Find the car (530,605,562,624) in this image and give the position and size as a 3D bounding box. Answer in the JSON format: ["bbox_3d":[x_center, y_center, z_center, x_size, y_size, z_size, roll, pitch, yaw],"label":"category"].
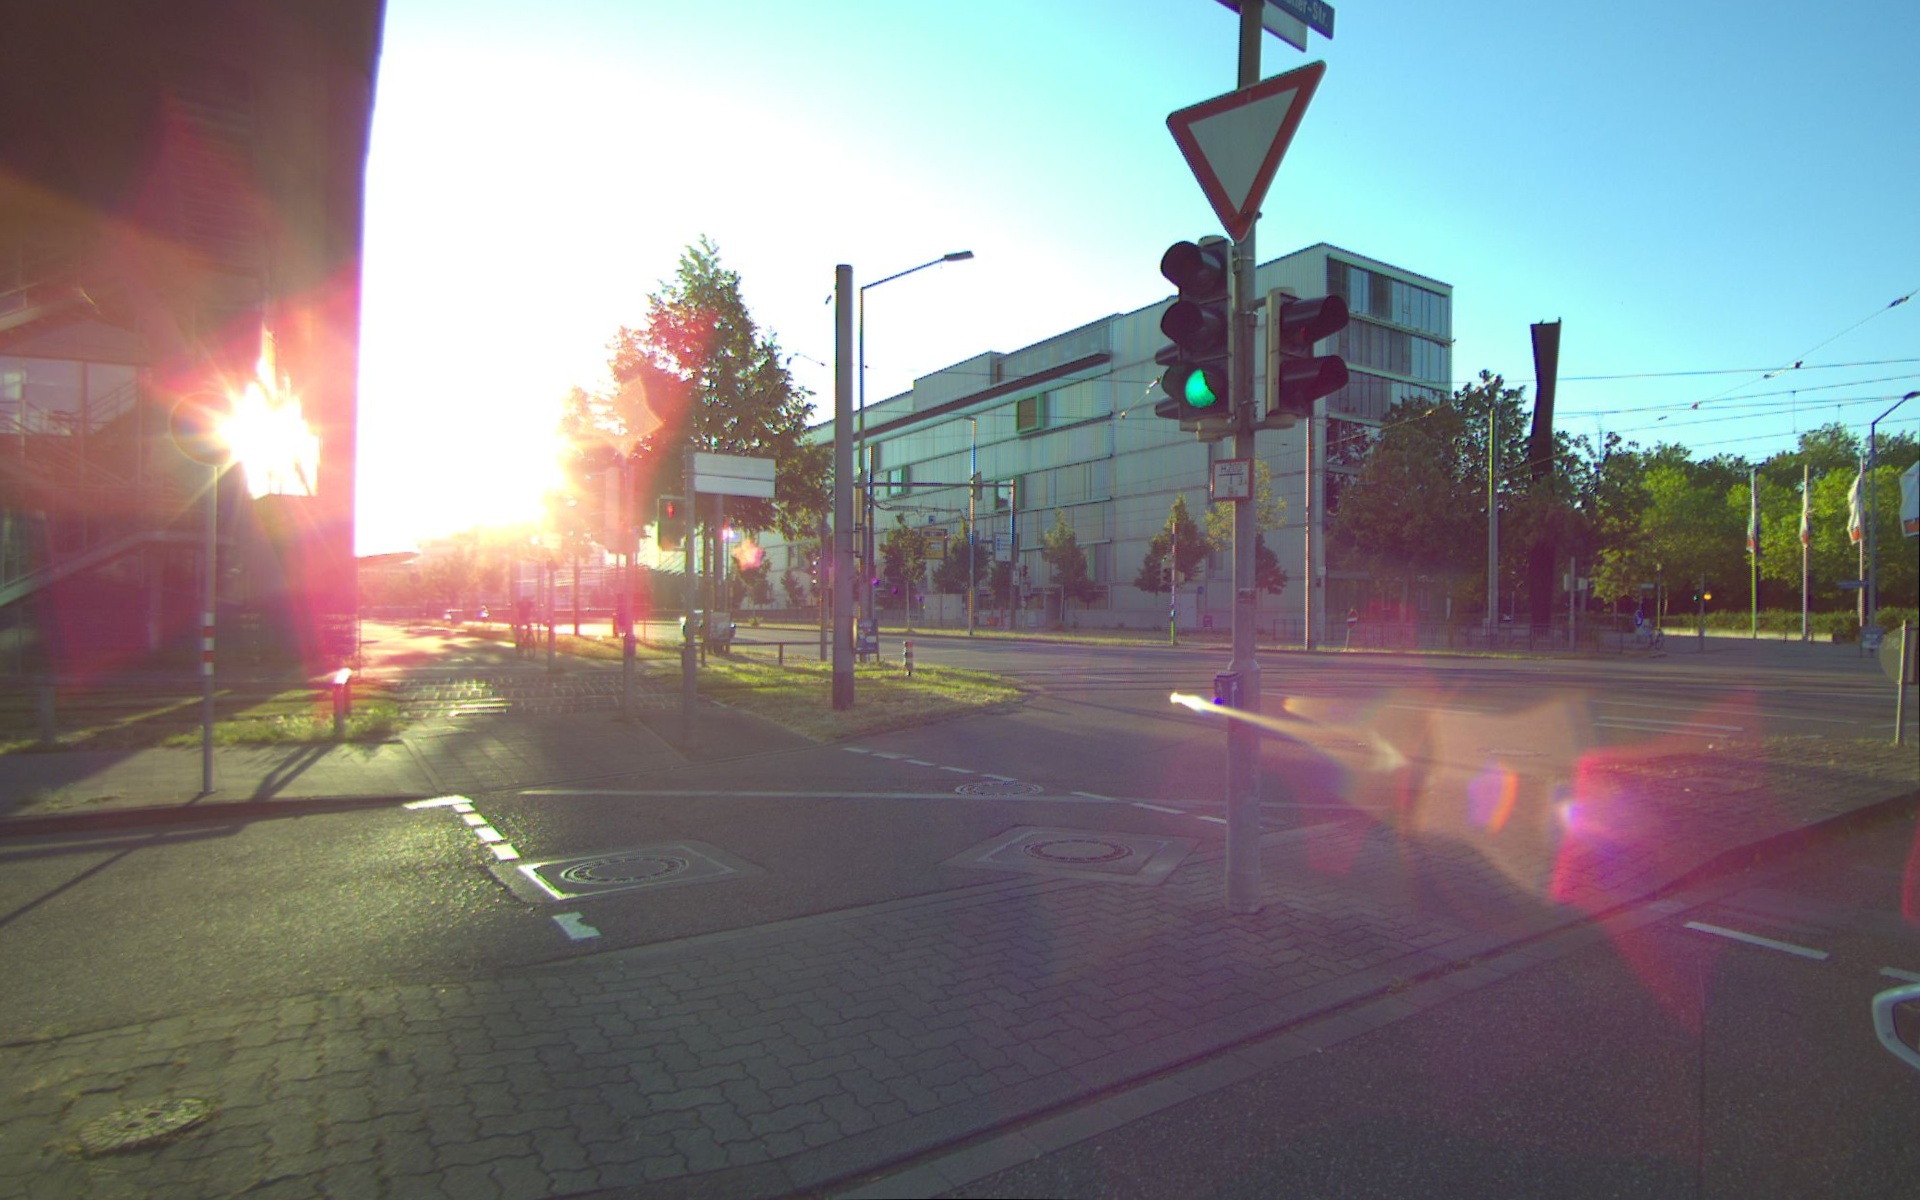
[{"bbox_3d":[-38.007,1.322,92.197,1.980,1.729,3.961,1,0,-35],"label":"car"}]

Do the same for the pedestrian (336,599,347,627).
[{"bbox_3d":[-44.553,0.933,72.369,0.612,2.040,0.805,2,-1,-33],"label":"pedestrian"}]

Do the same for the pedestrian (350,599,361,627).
[{"bbox_3d":[-43.850,0.957,72.867,0.612,2.040,0.805,2,-1,-33],"label":"pedestrian"}]

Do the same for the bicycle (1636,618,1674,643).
[{"bbox_3d":[32.760,1.439,47.332,2.368,1.151,0.694,1,0,-35],"label":"bicycle"}]

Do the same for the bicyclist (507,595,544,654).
[{"bbox_3d":[-12.465,0.693,28.790,0.798,1.655,1.277,1,0,-31],"label":"bicyclist"}]

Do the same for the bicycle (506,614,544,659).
[{"bbox_3d":[-12.480,1.015,28.790,0.735,1.223,2.092,1,-1,-31],"label":"bicycle"}]
